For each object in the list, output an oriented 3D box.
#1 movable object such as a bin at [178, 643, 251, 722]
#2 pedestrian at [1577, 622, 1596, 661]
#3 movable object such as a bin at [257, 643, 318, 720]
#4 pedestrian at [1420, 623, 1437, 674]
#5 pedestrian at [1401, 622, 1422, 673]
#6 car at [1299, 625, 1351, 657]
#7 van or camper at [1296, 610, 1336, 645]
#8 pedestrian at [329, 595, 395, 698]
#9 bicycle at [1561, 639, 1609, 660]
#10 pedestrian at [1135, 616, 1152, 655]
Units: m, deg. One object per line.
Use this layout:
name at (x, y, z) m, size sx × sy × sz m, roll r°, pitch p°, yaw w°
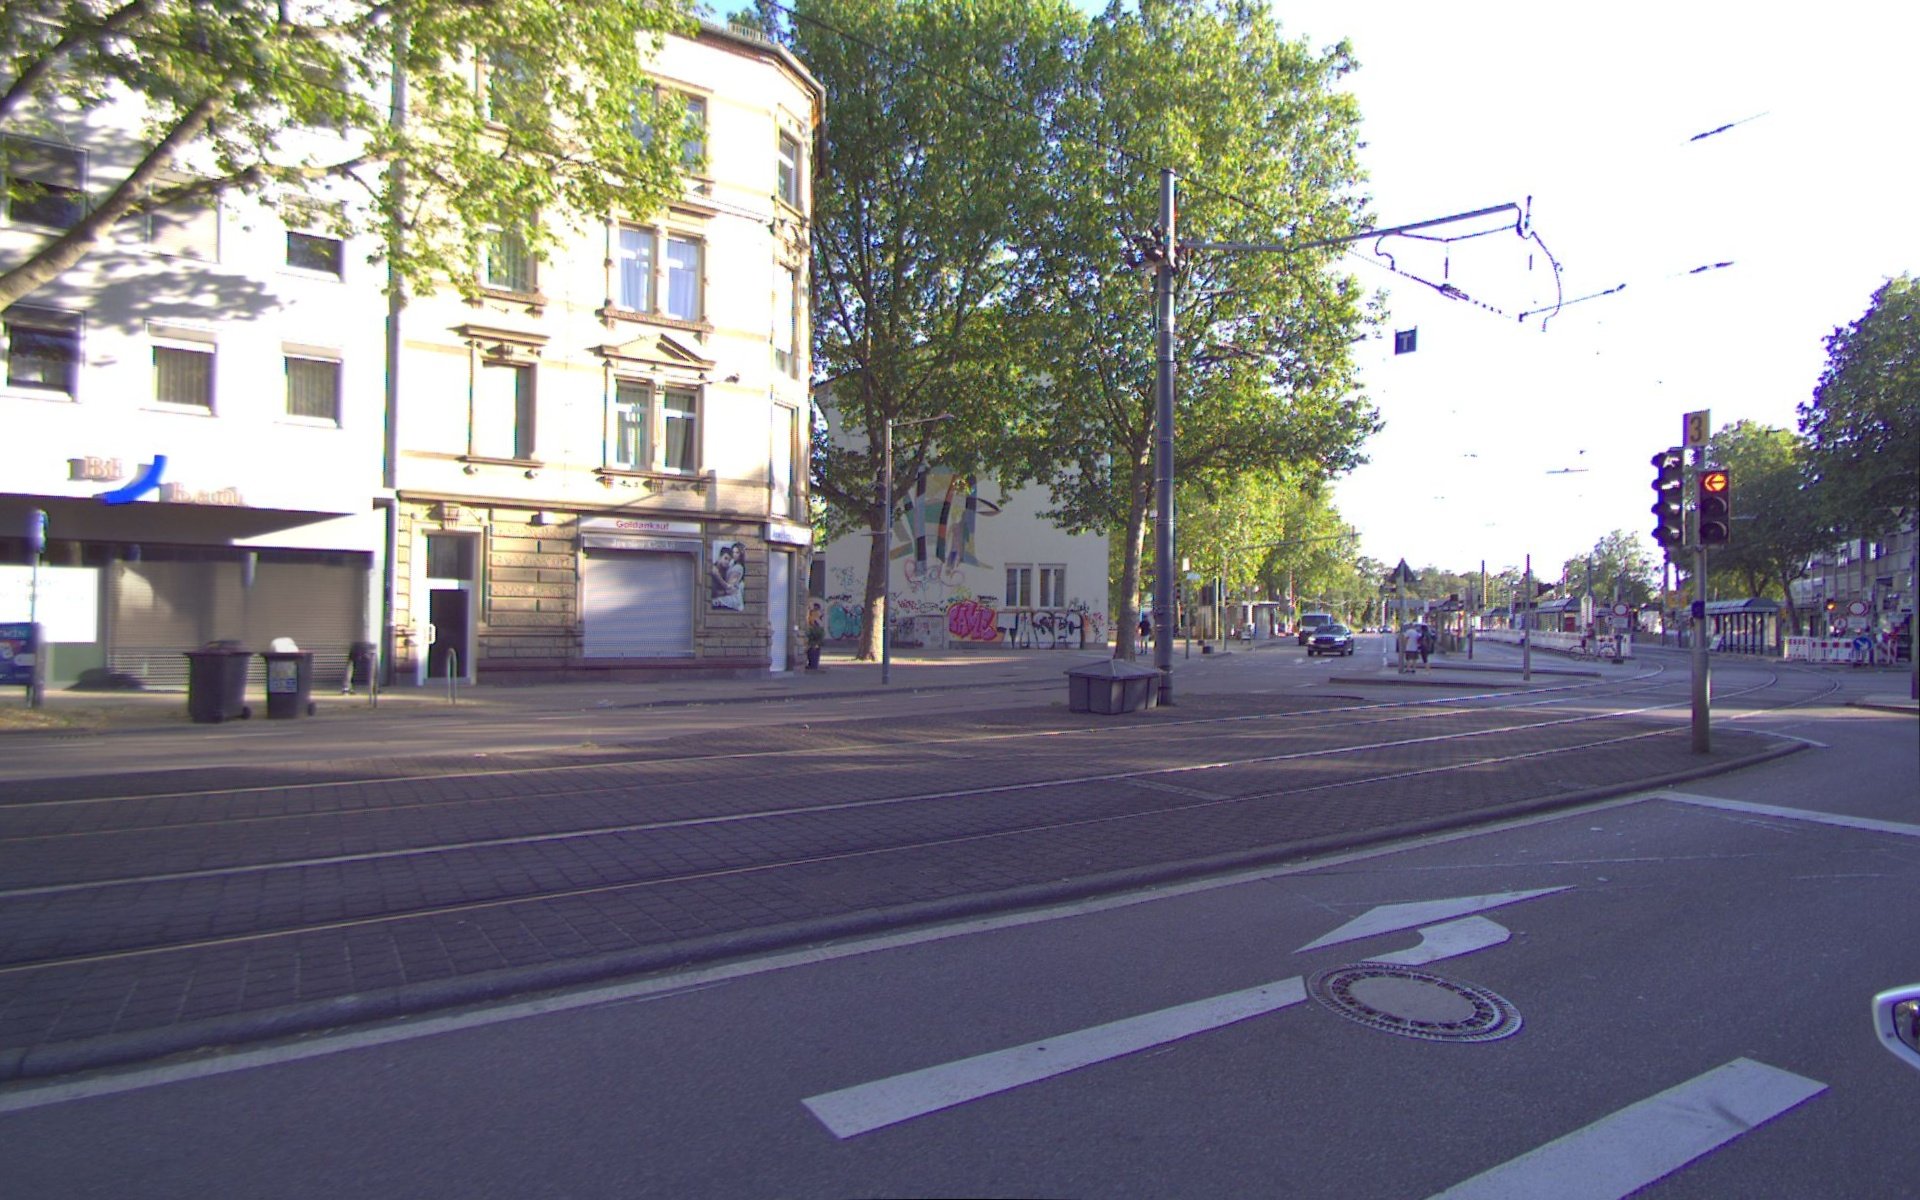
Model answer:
movable object such as a bin at (-10.691, 1.171, 14.422) m, size 0.634 × 1.108 × 0.546 m, roll 0°, pitch -1°, yaw 9°
pedestrian at (28.925, 1.905, 46.378) m, size 0.708 × 1.748 × 0.399 m, roll 0°, pitch -1°, yaw 23°
movable object such as a bin at (-10.032, 1.206, 14.995) m, size 0.562 × 1.108 × 0.477 m, roll 0°, pitch -1°, yaw 9°
pedestrian at (14.310, 1.477, 30.686) m, size 0.402 × 1.524 × 0.516 m, roll 0°, pitch -1°, yaw 30°
pedestrian at (13.759, 1.445, 30.599) m, size 0.512 × 1.524 × 0.592 m, roll 0°, pitch -1°, yaw 30°
car at (17.928, 1.971, 49.209) m, size 1.857 × 1.492 × 4.202 m, roll 0°, pitch -1°, yaw 27°
van or camper at (24.651, 1.896, 69.448) m, size 2.133 × 2.350 × 5.099 m, roll 0°, pitch -1°, yaw 26°
pedestrian at (-10.866, 0.828, 18.276) m, size 0.958 × 1.811 × 0.616 m, roll 1°, pitch 1°, yaw -27°
bicycle at (29.106, 2.296, 46.789) m, size 1.811 × 0.955 × 0.463 m, roll 0°, pitch -1°, yaw 23°
pedestrian at (8.242, 1.584, 45.102) m, size 0.663 × 1.733 × 0.432 m, roll 2°, pitch 1°, yaw 6°
